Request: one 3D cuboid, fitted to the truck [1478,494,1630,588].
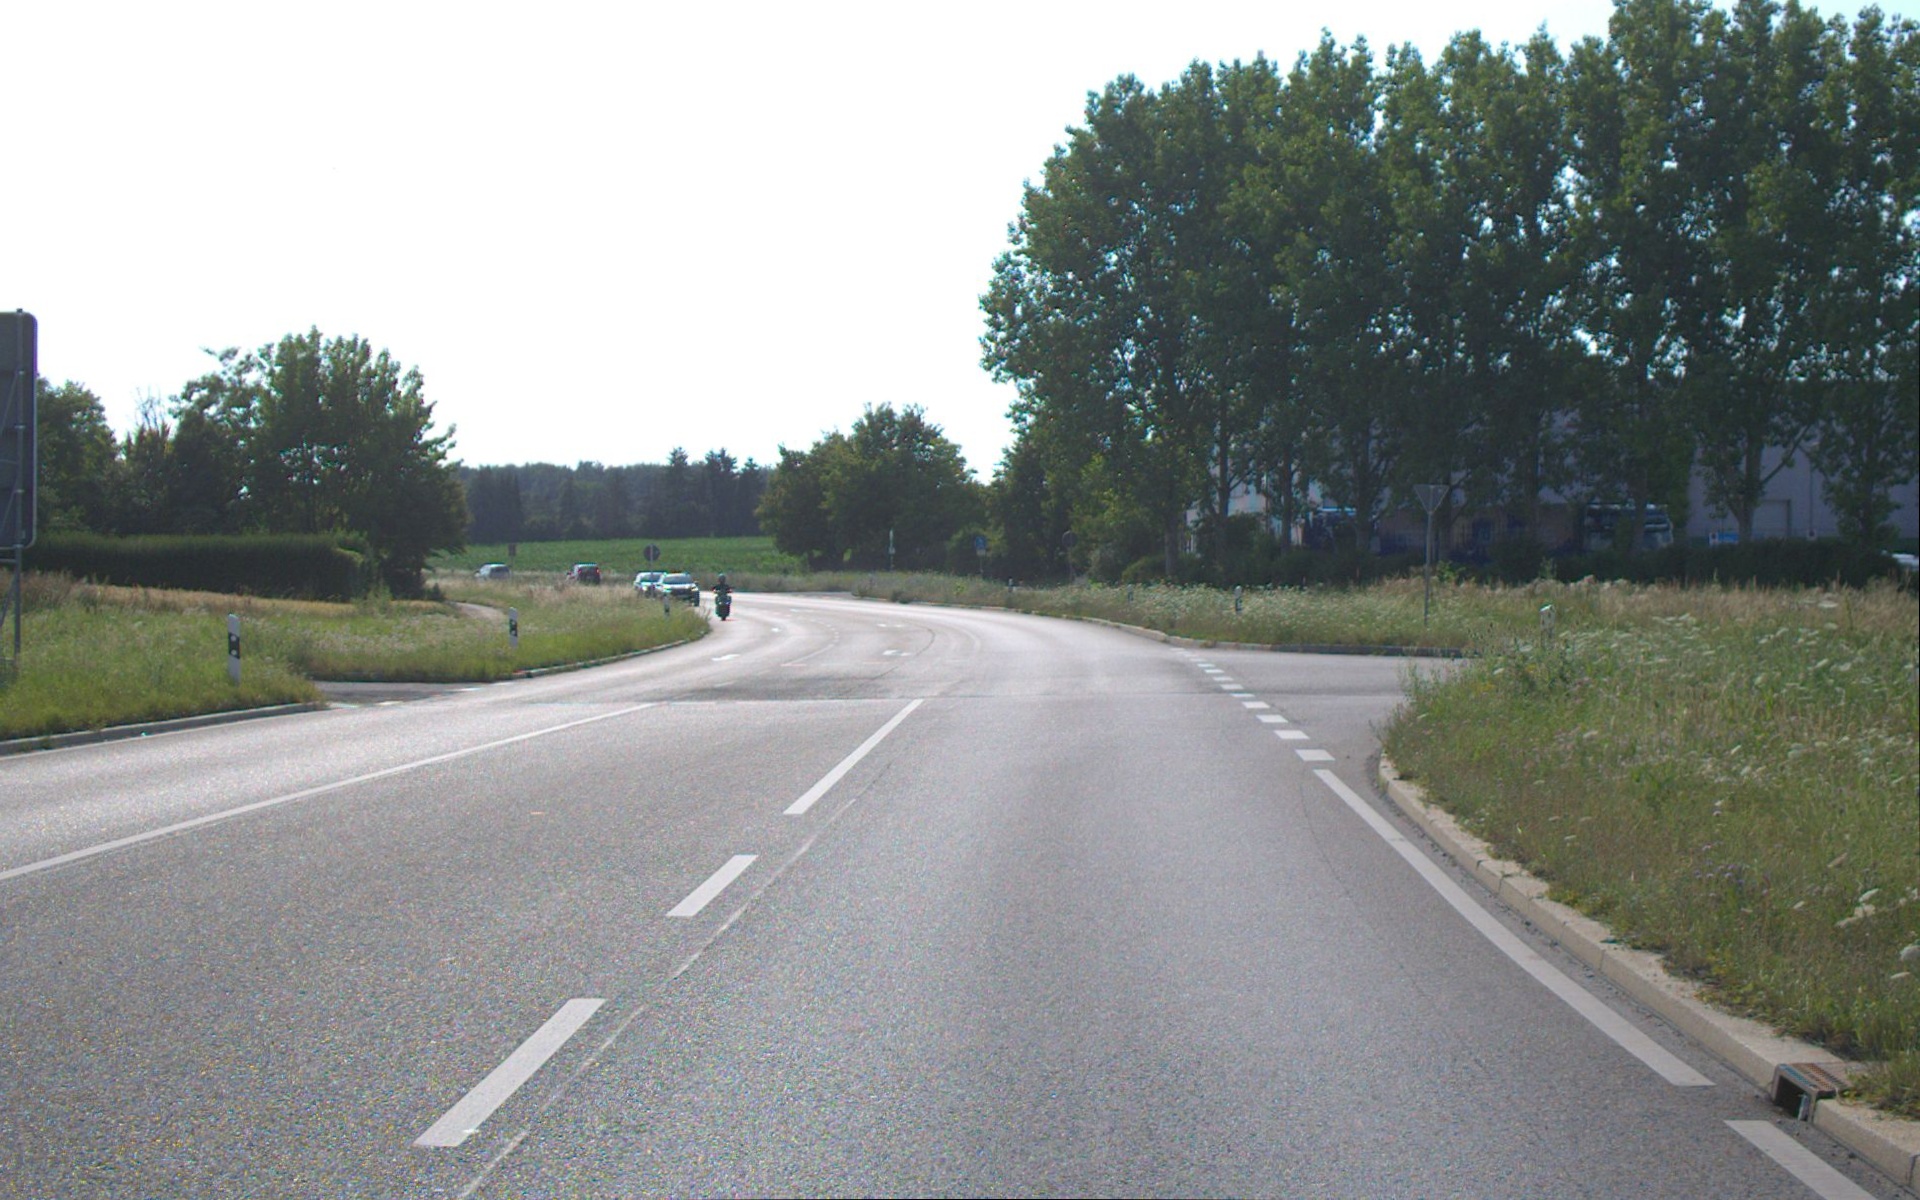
[{"bbox_3d":[21.620,-2.104,125.384,2.619,3.151,5.710,3,-2,-25],"label":"truck"}]

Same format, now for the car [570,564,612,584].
[{"bbox_3d":[-22.921,-1.625,213.418,1.967,1.147,3.868,3,-1,-16],"label":"car"}]

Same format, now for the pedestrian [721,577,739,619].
[{"bbox_3d":[-8.438,-0.078,126.196,0.566,1.500,0.865,3,0,-2],"label":"pedestrian"}]

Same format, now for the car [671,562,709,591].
[{"bbox_3d":[-12.536,-1.091,159.760,1.684,1.344,4.001,-1,1,-4],"label":"car"}]

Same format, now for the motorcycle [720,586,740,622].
[{"bbox_3d":[-8.440,0.139,126.142,0.585,1.256,2.121,3,-1,-2],"label":"motorcycle"}]

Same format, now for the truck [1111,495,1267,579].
[{"bbox_3d":[9.672,-2.629,146.576,2.511,3.365,9.687,3,-1,-22],"label":"truck"}]

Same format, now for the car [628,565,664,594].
[{"bbox_3d":[-16.061,-1.043,175.695,1.684,1.344,3.634,3,1,-4],"label":"car"}]

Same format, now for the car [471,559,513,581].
[{"bbox_3d":[-31.916,-2.057,234.527,1.850,1.403,3.645,3,-1,-24],"label":"car"}]

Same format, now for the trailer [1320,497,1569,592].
[{"bbox_3d":[18.447,-2.052,132.322,2.683,3.131,13.272,3,-2,-25],"label":"trailer"}]
